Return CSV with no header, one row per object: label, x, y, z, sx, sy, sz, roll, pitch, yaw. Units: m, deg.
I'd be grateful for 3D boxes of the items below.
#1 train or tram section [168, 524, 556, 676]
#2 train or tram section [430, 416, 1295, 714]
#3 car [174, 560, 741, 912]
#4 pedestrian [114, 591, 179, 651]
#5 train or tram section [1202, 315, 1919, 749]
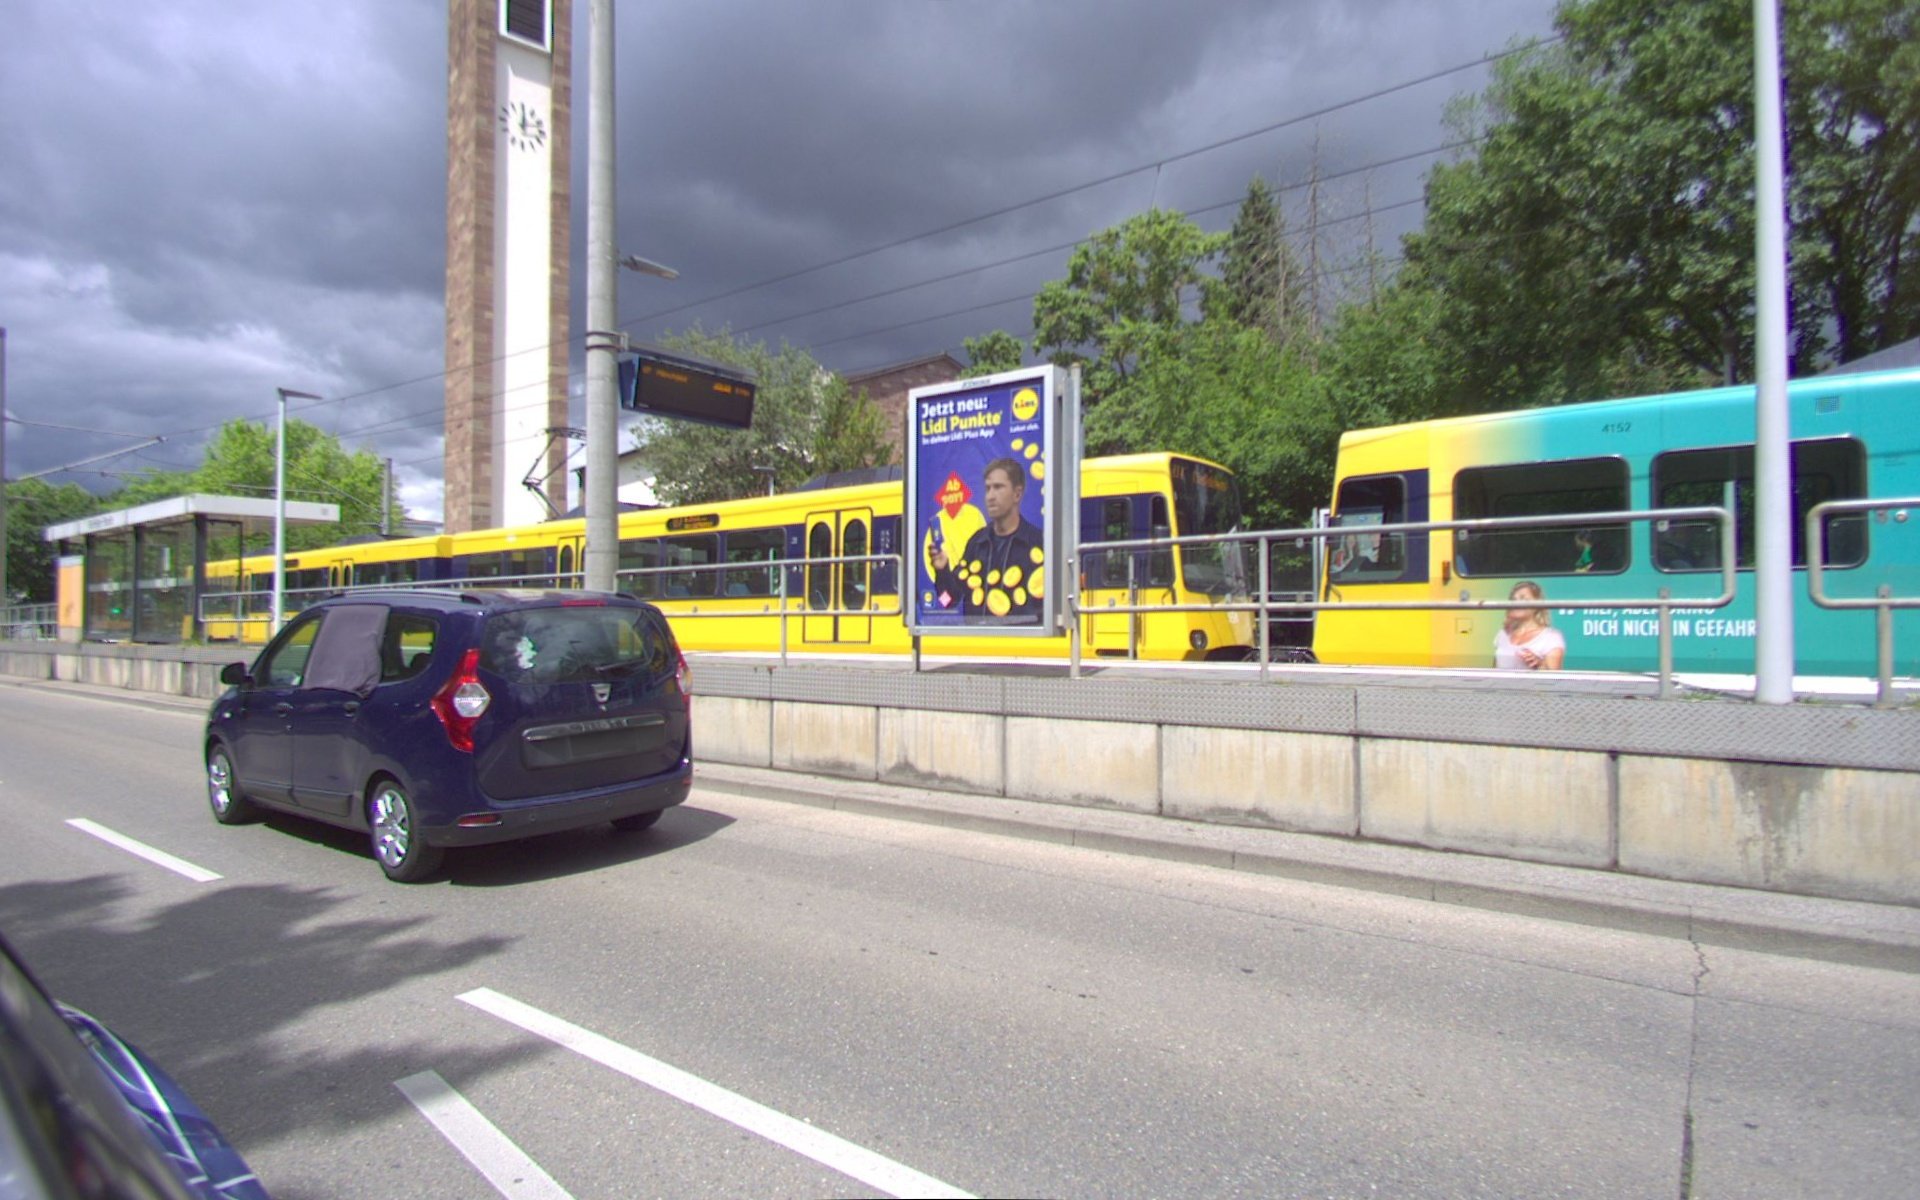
train or tram section,-18.753,0.182,30.292,18.793,3.491,3.079,-2,0,37
train or tram section,-3.748,-0.225,18.852,18.964,3.491,3.079,-2,0,37
car,-3.615,0.691,6.905,4.380,1.695,1.704,-2,0,38
pedestrian,-16.860,0.448,20.981,0.918,1.196,0.788,-2,-4,36
train or tram section,11.405,-0.636,7.274,19.165,3.491,3.079,-2,0,37
